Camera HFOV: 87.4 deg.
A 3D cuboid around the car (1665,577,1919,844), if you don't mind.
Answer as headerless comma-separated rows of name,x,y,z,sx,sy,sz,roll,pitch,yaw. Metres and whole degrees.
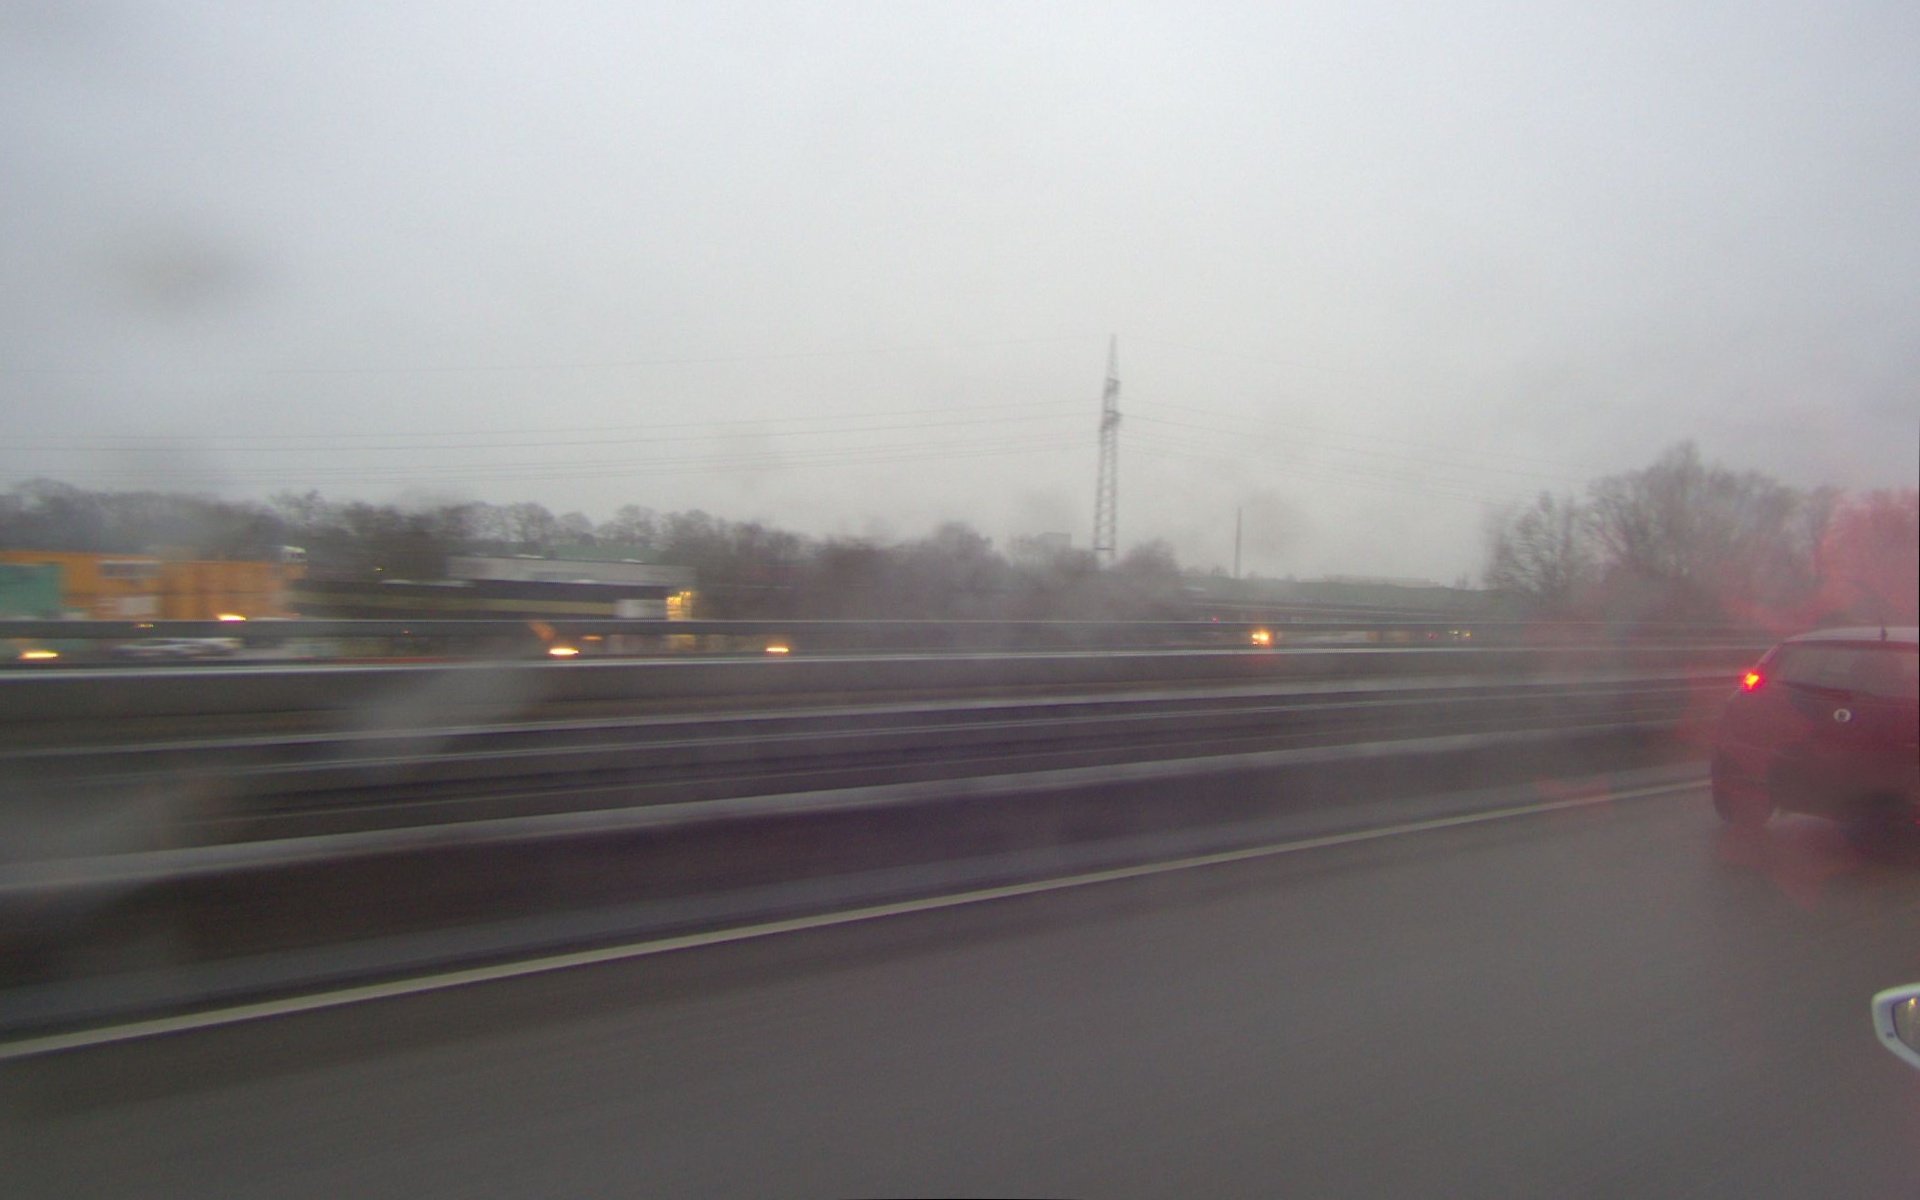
car,7.109,0.747,7.254,3.994,1.553,1.723,4,-1,-29
